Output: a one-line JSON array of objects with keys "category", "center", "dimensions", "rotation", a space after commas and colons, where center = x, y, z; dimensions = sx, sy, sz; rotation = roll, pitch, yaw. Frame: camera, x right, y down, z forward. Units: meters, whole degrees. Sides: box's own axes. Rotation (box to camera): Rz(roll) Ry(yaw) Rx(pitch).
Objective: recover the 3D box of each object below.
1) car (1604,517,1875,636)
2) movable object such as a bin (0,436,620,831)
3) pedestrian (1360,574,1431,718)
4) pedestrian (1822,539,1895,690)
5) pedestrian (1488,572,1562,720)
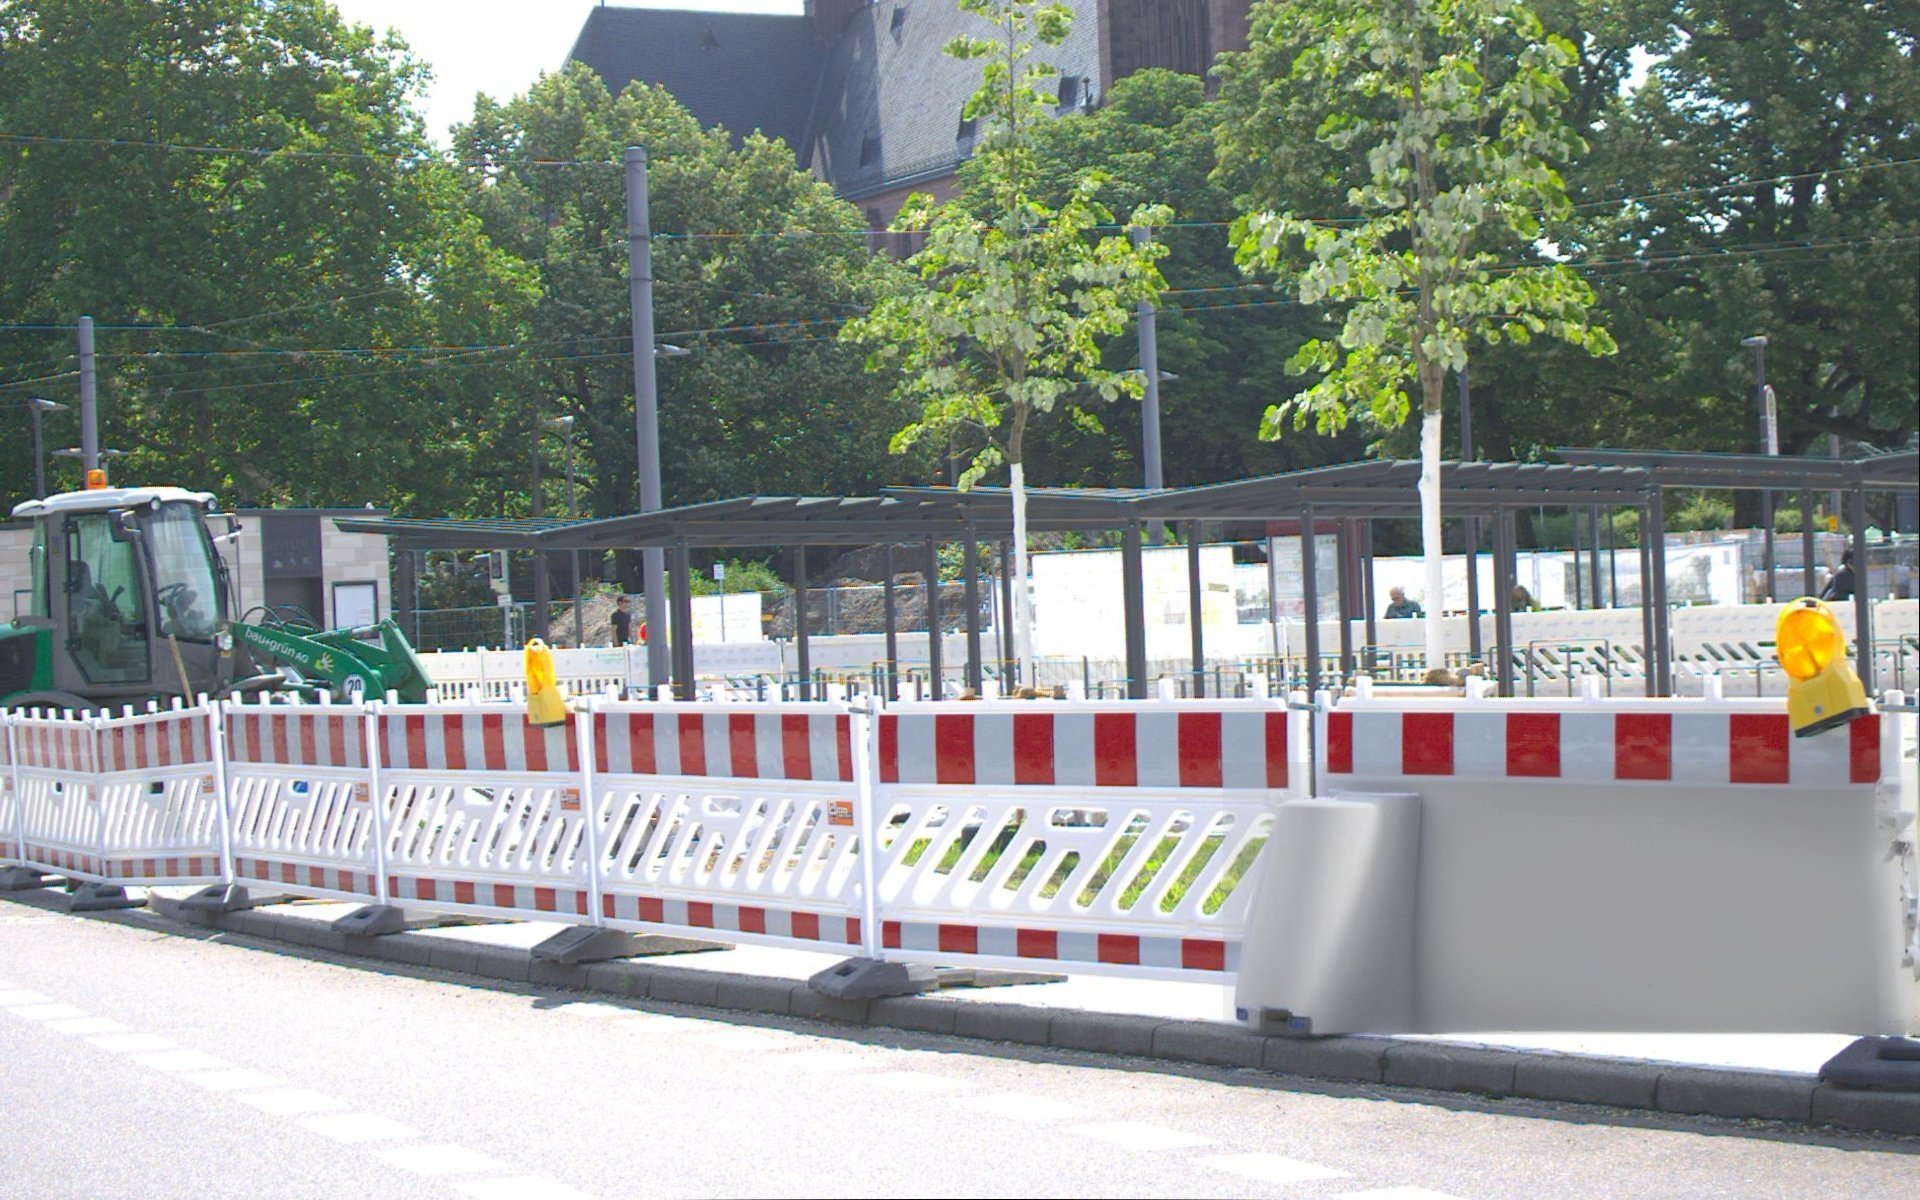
[{"category": "car", "center": [13.411, -0.398, 59.191], "dimensions": [4.172, 1.875, 1.800], "rotation": [-2, 0, 28]}, {"category": "movable object such as a bin", "center": [-5.761, 0.298, 27.434], "dimensions": [5.529, 2.875, 2.286], "rotation": [-2, 0, 20]}, {"category": "pedestrian", "center": [6.203, 0.652, 48.969], "dimensions": [0.749, 2.007, 0.762], "rotation": [-2, 0, 25]}, {"category": "pedestrian", "center": [12.247, 0.194, 46.845], "dimensions": [0.761, 2.007, 0.749], "rotation": [-2, 0, 26]}, {"category": "pedestrian", "center": [7.813, 0.639, 47.558], "dimensions": [0.761, 2.007, 0.749], "rotation": [-2, 0, 26]}]
